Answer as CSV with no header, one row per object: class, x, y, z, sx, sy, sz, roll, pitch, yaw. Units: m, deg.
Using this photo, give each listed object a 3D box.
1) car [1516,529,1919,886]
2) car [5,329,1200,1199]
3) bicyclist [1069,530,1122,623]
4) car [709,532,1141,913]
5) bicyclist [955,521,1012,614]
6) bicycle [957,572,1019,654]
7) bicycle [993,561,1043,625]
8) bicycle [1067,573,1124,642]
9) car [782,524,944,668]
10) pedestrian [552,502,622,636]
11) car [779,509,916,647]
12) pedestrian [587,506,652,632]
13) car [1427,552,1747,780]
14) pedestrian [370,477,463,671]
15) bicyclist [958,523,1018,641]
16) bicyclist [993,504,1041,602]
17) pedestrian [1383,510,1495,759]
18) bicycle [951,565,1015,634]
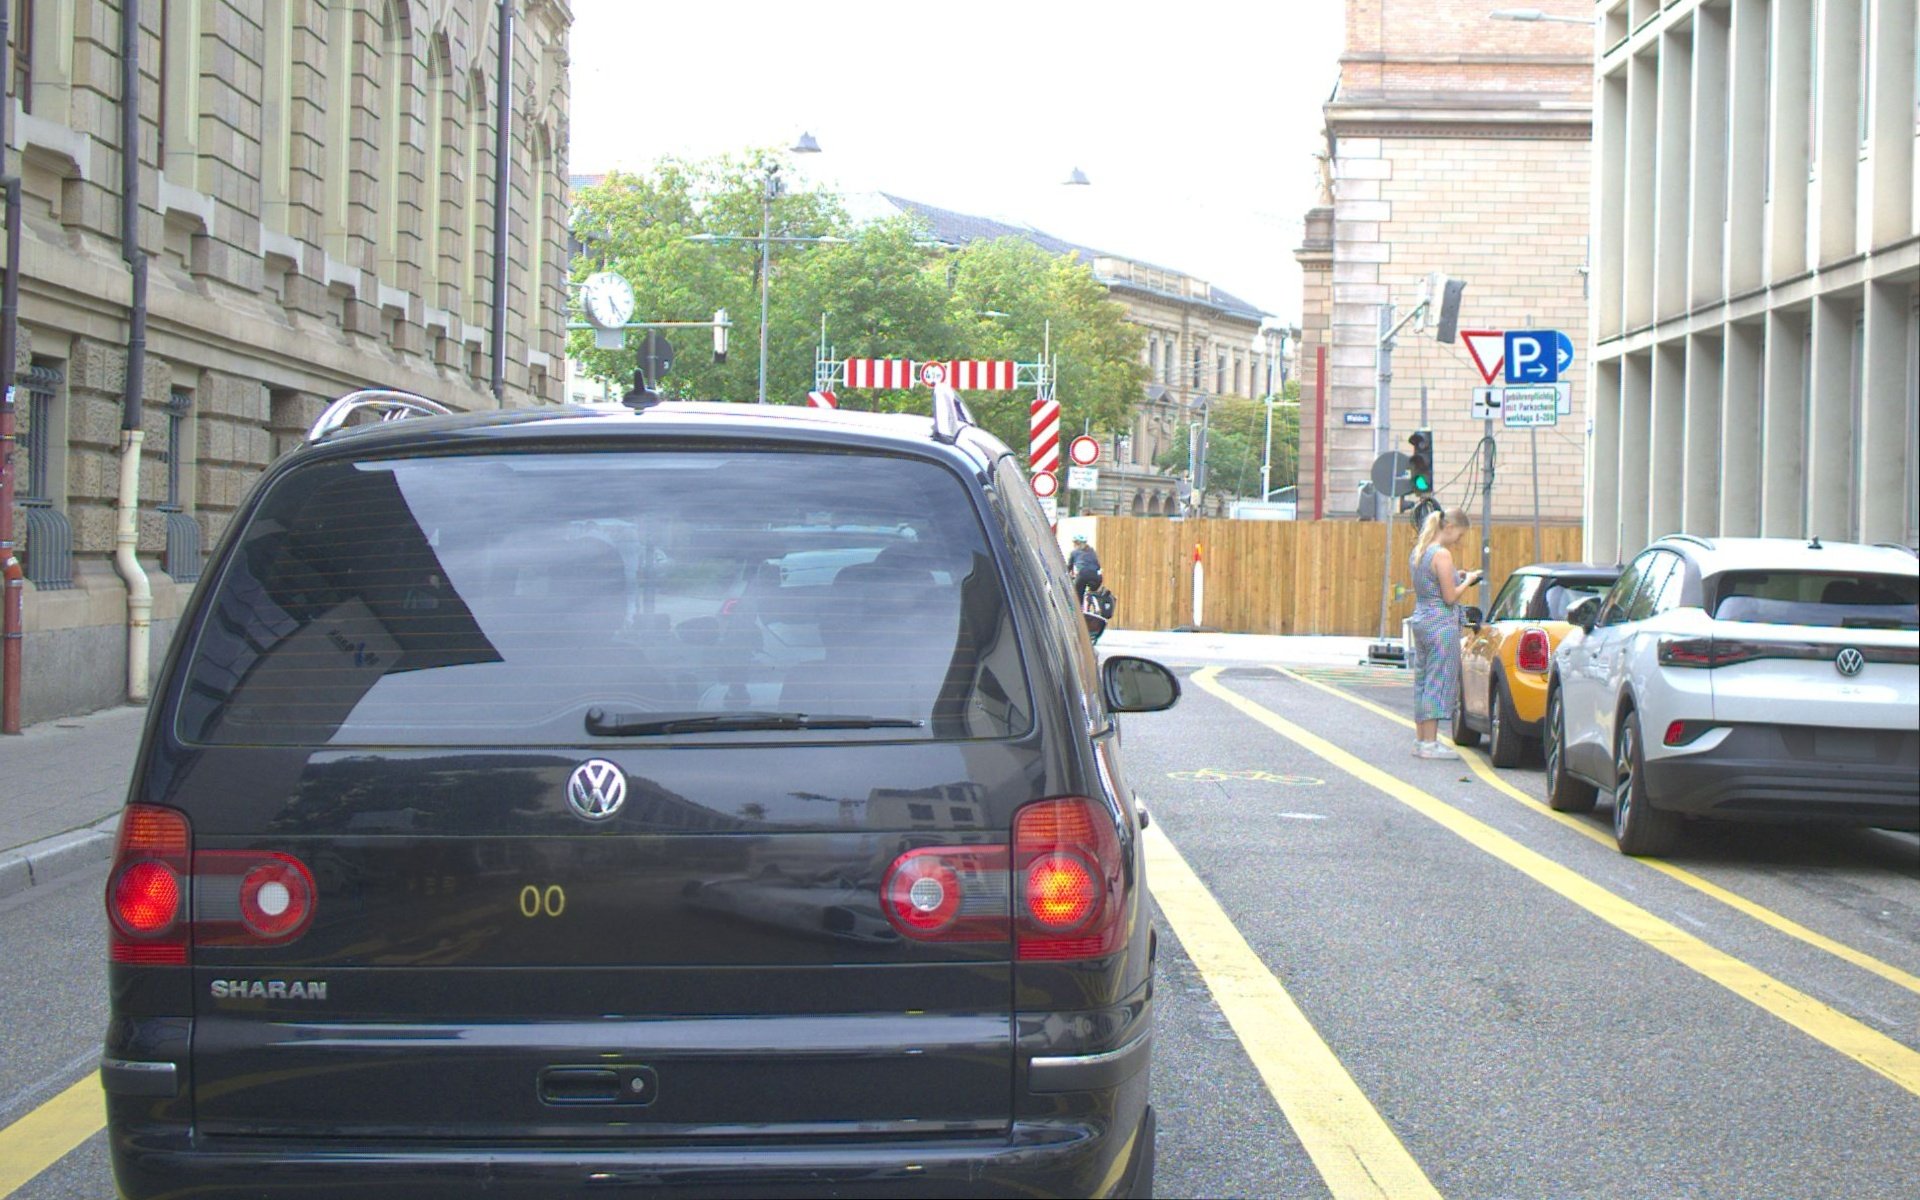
car,4.259,0.502,18.524,1.860,1.599,4.512,4,1,2
car,-0.465,0.470,7.211,1.790,1.784,4.103,1,1,2
bicyclist,2.019,-0.348,51.266,0.735,1.371,0.832,1,0,-1
car,-0.060,0.462,15.633,1.678,1.464,4.103,1,1,2
bicyclist,0.351,-0.489,51.725,0.735,1.372,0.829,1,0,-7
bicycle,0.348,0.150,43.804,0.735,1.005,2.069,1,1,-1
bicycle,0.928,-0.117,55.644,0.735,1.005,2.069,1,1,-1
bicycle,2.010,0.100,51.286,0.735,1.005,2.069,1,1,-1
car,-1.104,-0.067,40.271,1.773,1.580,4.000,1,1,-1
pedestrian,-5.207,-0.428,47.983,0.792,1.813,1.048,3,0,-1
car,-1.589,-0.314,47.273,1.734,1.784,4.104,1,1,-3
pedestrian,-5.054,-0.462,51.033,0.792,1.813,1.048,3,0,-1
car,4.494,0.424,25.147,1.680,1.430,3.886,4,1,2
pedestrian,-5.228,-0.249,33.114,0.664,1.813,1.048,3,0,-1
bicyclist,0.354,-0.230,43.758,0.735,1.473,0.884,1,0,-1
bicyclist,0.913,-0.759,55.579,0.735,1.550,0.895,1,0,-1
pedestrian,3.432,0.240,24.693,0.698,1.757,0.706,1,0,2
bicycle,0.340,-0.015,51.781,0.735,1.005,2.069,1,1,-6
